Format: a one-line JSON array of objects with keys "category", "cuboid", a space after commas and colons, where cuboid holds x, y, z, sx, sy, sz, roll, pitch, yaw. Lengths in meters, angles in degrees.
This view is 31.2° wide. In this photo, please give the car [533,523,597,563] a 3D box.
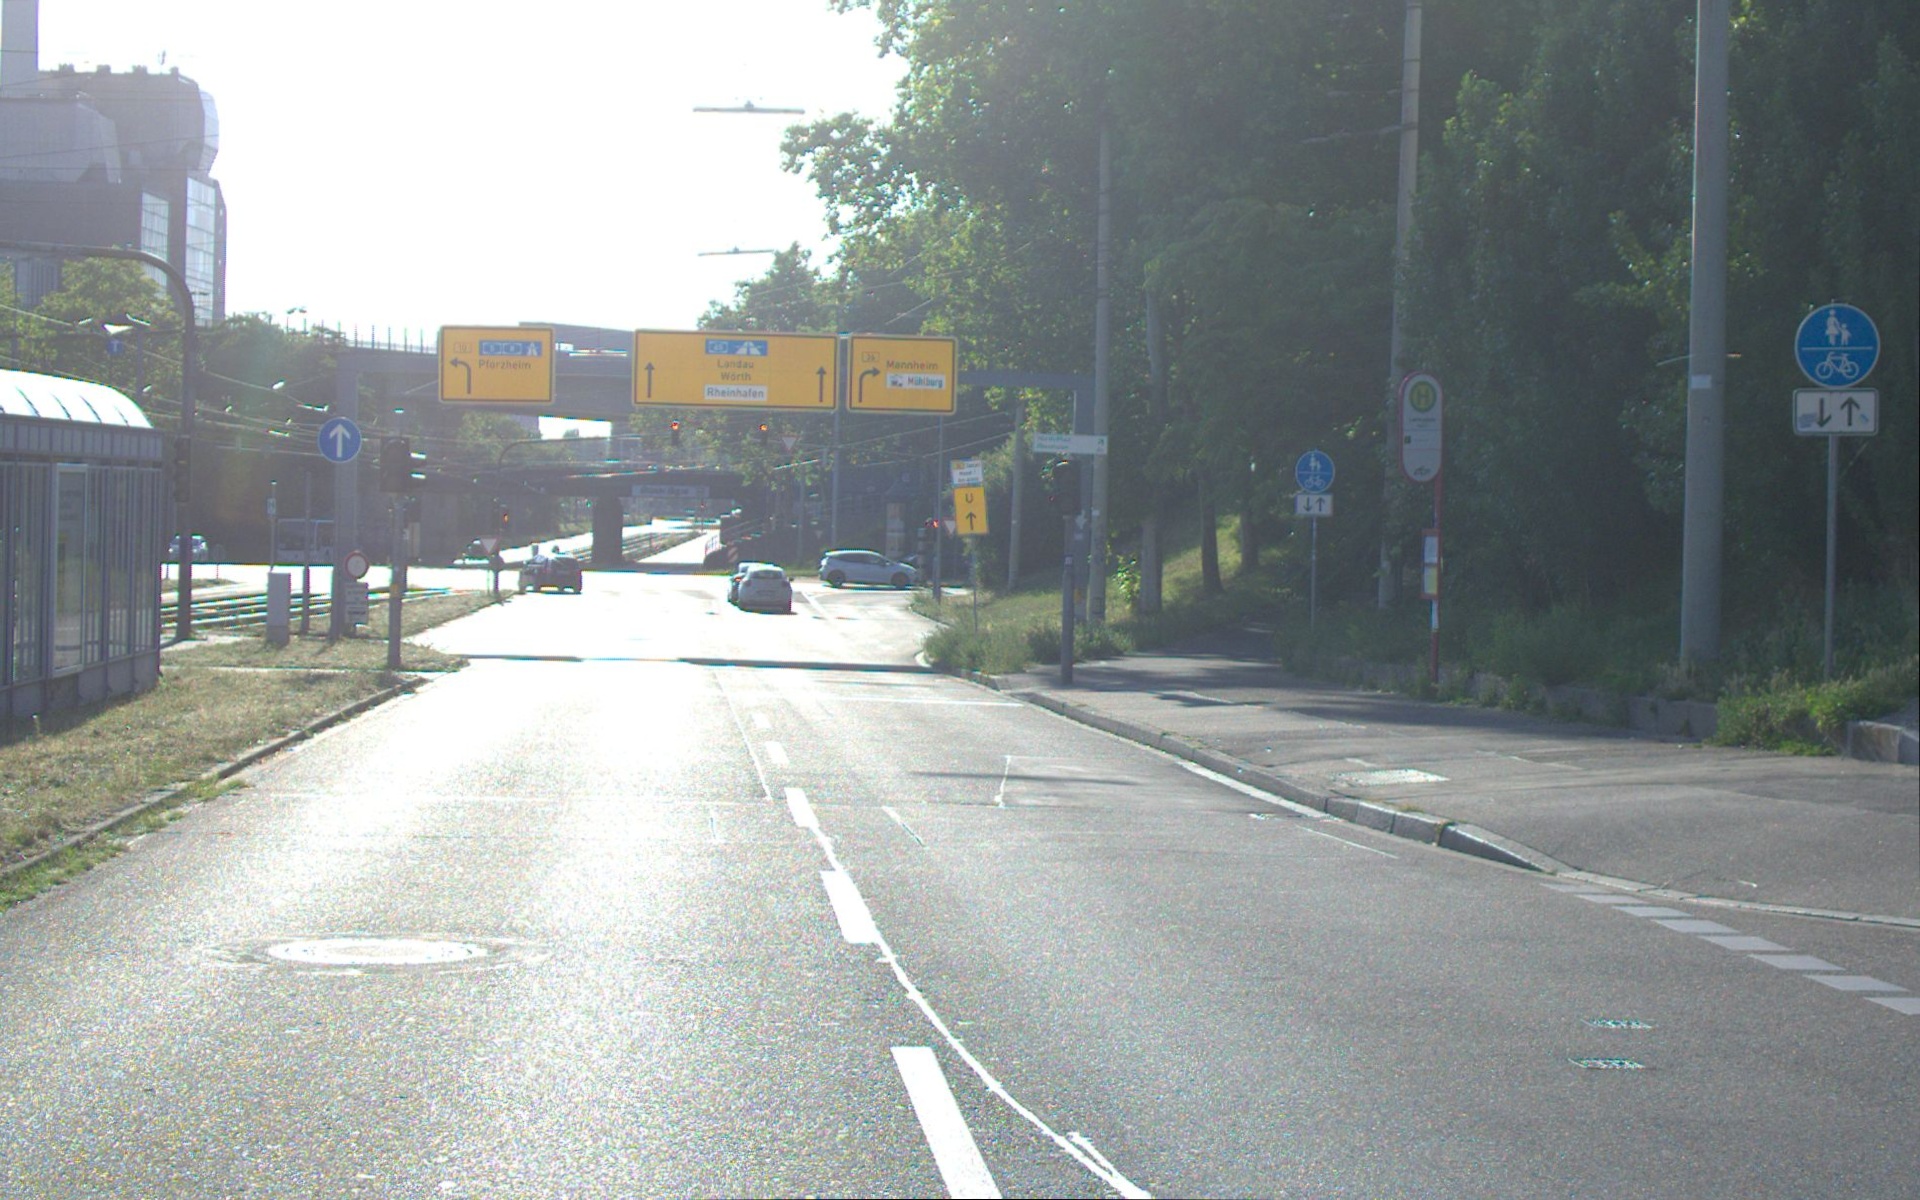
[{"category": "car", "cuboid": [-14.770, -2.132, 128.717, 2.037, 1.441, 4.001, 1, 1, -2]}]

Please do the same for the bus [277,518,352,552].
[{"category": "bus", "cuboid": [-39.841, -3.989, 212.546, 2.583, 2.007, 12.297, 1, 1, -1]}]

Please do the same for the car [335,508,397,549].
[{"category": "car", "cuboid": [-29.846, -3.595, 172.934, 1.994, 2.007, 4.862, 1, 1, 3]}]

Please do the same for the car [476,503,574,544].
[{"category": "car", "cuboid": [-23.424, -4.147, 185.070, 4.788, 2.006, 1.998, 3, 2, 18]}]

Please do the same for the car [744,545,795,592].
[{"category": "car", "cuboid": [-6.248, -1.063, 113.213, 1.515, 1.383, 3.364, 2, 2, -1]}]

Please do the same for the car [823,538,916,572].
[{"category": "car", "cuboid": [-3.942, -1.966, 149.320, 3.986, 1.441, 1.774, 1, 1, -4]}]

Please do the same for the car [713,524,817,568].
[{"category": "car", "cuboid": [-9.960, -2.772, 175.577, 4.850, 2.006, 1.999, 3, 2, 16]}]
